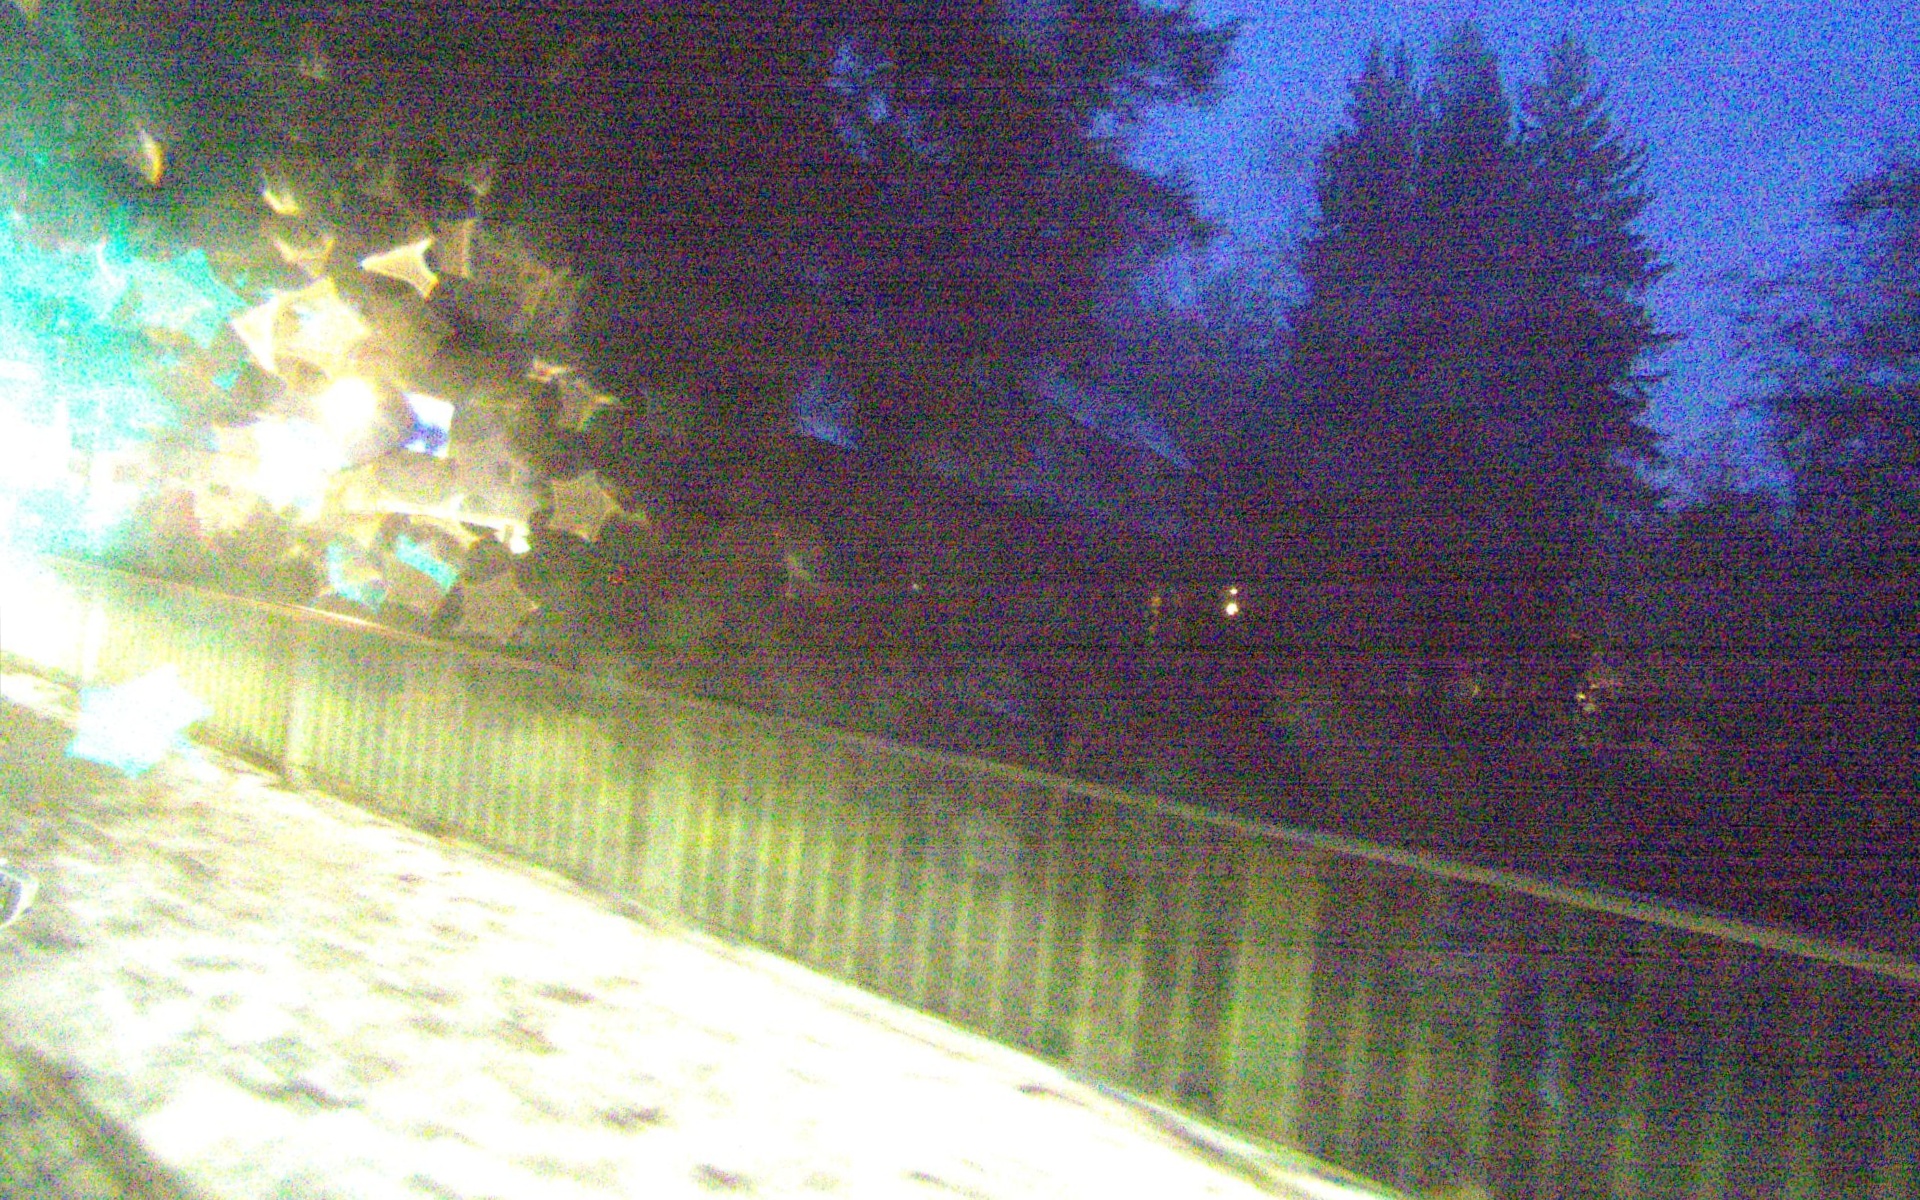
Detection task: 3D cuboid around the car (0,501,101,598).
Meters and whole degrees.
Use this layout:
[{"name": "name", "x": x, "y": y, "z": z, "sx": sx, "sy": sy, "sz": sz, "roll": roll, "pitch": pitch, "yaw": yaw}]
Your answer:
[{"name": "car", "x": -22.140, "y": -1.303, "z": 22.562, "sx": 1.745, "sy": 1.967, "sz": 4.260, "roll": 10, "pitch": -3, "yaw": 0}]

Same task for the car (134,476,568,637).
[{"name": "car", "x": -7.793, "y": -0.488, "z": 13.217, "sx": 1.912, "sy": 1.607, "sz": 4.456, "roll": 8, "pitch": 3, "yaw": 42}]
